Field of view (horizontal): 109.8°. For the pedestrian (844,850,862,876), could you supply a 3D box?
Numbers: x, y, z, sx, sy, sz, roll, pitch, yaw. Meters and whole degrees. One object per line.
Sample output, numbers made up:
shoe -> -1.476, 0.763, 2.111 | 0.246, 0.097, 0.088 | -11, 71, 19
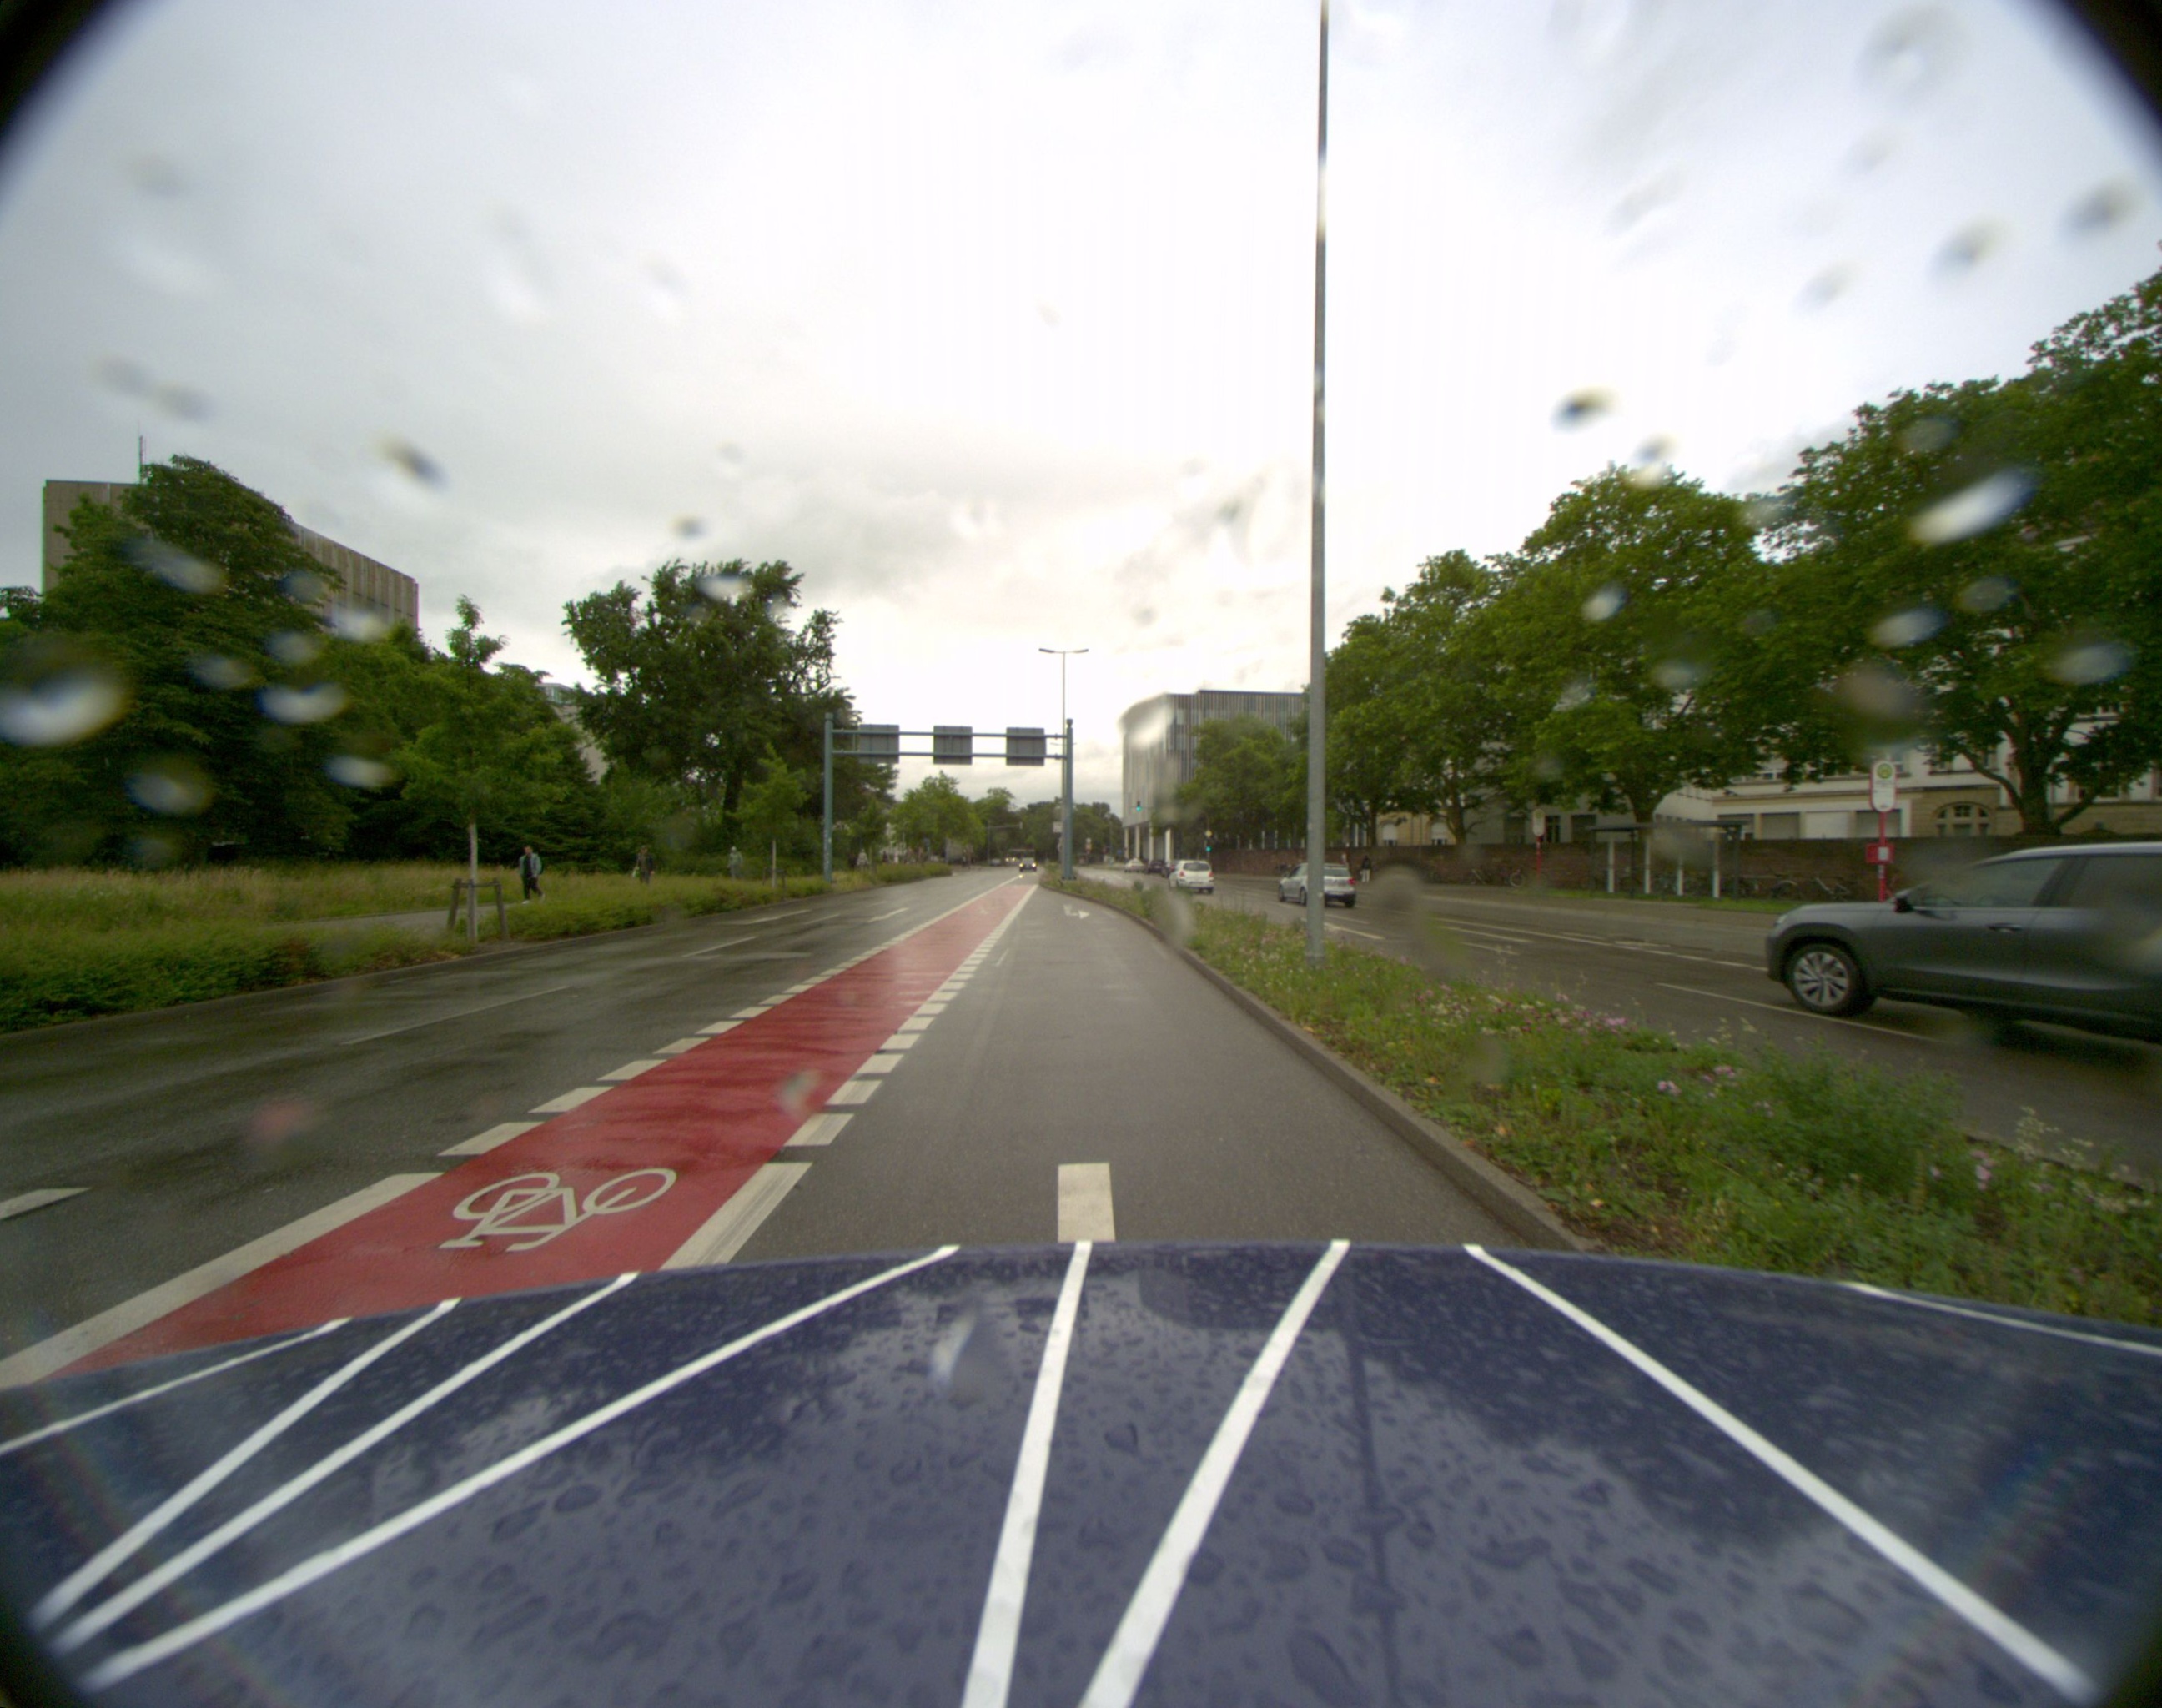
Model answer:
pedestrian -> -15.107, 0.583, 50.431 | 0.935, 1.693, 0.829 | -1, -2, 2

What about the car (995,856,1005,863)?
car -> -15.229, 0.974, 142.700 | 1.661, 1.259, 4.105 | 0, 0, -4

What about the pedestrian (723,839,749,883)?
pedestrian -> -16.004, 0.326, 35.210 | 0.792, 2.002, 0.829 | 0, 0, 4

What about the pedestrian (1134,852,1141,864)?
pedestrian -> 8.262, 0.588, 111.255 | 0.788, 1.814, 0.623 | 0, 1, -26

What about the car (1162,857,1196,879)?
car -> 7.535, 1.042, 59.064 | 1.813, 1.531, 4.702 | 2, 0, -2

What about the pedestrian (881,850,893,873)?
pedestrian -> -16.017, 0.631, 62.761 | 0.731, 1.848, 0.851 | 0, 0, 4

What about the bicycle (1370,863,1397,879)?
bicycle -> 18.971, 1.059, 47.695 | 0.734, 0.977, 1.699 | 0, 0, -13

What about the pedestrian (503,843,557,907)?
pedestrian -> -15.796, 0.599, 21.818 | 0.935, 1.786, 0.829 | 0, 0, 4

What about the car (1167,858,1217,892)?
car -> 5.130, 0.941, 35.533 | 1.683, 1.493, 3.868 | 1, 0, -1

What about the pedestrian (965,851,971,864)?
pedestrian -> -15.647, 0.518, 105.354 | 0.625, 1.813, 0.785 | 0, 0, -17

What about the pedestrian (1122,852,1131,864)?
pedestrian -> 6.665, 0.575, 112.207 | 0.941, 1.813, 0.921 | 0, 0, -33

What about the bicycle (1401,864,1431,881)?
bicycle -> 19.673, 1.074, 44.690 | 0.734, 0.977, 1.699 | 0, 0, -13

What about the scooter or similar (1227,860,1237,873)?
scooter or similar -> 14.181, 1.172, 71.406 | 0.392, 1.191, 1.141 | -7, 1, -9

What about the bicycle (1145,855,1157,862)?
bicycle -> 13.190, 0.822, 142.790 | 2.283, 1.215, 0.599 | 0, 0, 7

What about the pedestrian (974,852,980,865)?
pedestrian -> -14.598, 0.583, 106.156 | 0.625, 1.813, 0.785 | 0, 0, -25

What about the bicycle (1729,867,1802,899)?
bicycle -> 25.377, 1.054, 28.207 | 0.575, 1.129, 1.988 | 0, 0, -18

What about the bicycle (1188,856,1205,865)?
bicycle -> 16.444, 0.925, 108.220 | 2.287, 1.215, 0.598 | 0, 0, -15

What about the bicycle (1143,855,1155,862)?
bicycle -> 13.024, 0.825, 144.906 | 2.283, 1.215, 0.599 | 0, 0, 7

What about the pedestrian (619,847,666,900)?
pedestrian -> -14.746, 0.631, 25.593 | 0.935, 1.737, 1.046 | 0, 0, 4

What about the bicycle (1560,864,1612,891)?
bicycle -> 22.873, 1.050, 34.480 | 0.575, 1.129, 1.987 | 0, 0, -22

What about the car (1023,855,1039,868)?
car -> -5.519, 0.816, 83.124 | 1.661, 1.356, 4.105 | 0, 0, -4

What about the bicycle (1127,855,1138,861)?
bicycle -> 10.913, 0.841, 160.647 | 2.283, 1.215, 0.599 | 0, 0, 7

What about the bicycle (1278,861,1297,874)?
bicycle -> 16.263, 1.066, 59.810 | 0.734, 0.977, 1.699 | 0, 0, -13

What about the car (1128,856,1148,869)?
car -> 6.305, 0.913, 84.599 | 1.600, 1.407, 4.522 | 2, 0, -4

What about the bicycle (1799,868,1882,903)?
bicycle -> 26.316, 1.080, 26.372 | 0.575, 1.129, 1.988 | 0, 0, -18

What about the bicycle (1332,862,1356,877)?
bicycle -> 18.033, 1.063, 52.104 | 0.734, 0.977, 1.699 | 0, 0, -13

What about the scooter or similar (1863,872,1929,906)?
scooter or similar -> 26.823, 1.139, 25.015 | 0.574, 1.040, 1.360 | 0, 0, -18

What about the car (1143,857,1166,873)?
car -> 6.852, 0.980, 71.128 | 1.628, 1.407, 4.065 | 2, 0, -2

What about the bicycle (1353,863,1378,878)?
bicycle -> 18.476, 1.060, 49.375 | 0.734, 0.977, 1.699 | 0, 0, -13

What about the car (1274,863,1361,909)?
car -> 8.237, 1.068, 26.823 | 1.683, 1.396, 4.157 | 1, 0, -1

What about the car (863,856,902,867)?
car -> -23.914, 0.895, 91.585 | 4.389, 1.330, 1.771 | 0, 3, -6

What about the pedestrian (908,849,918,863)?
pedestrian -> -18.644, 0.196, 84.290 | 0.878, 1.597, 0.862 | 0, 0, -25

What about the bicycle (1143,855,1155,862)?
bicycle -> 13.137, 0.895, 145.829 | 2.283, 1.215, 0.599 | 0, 0, 7

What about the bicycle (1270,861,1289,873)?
bicycle -> 16.146, 1.069, 61.830 | 0.734, 0.977, 1.699 | 0, 0, -13

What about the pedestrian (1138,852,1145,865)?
pedestrian -> 8.761, 0.673, 110.582 | 0.788, 1.813, 0.623 | 0, 0, -26

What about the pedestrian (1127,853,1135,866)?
pedestrian -> 6.848, 0.783, 104.314 | 0.788, 1.813, 0.794 | 0, 0, -26

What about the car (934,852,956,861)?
car -> -27.923, 0.567, 155.592 | 4.428, 1.862, 1.636 | 0, 0, -11

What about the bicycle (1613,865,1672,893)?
bicycle -> 23.816, 1.052, 32.258 | 0.575, 1.129, 1.987 | 0, 0, -22

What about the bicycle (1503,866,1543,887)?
bicycle -> 21.769, 1.109, 37.440 | 0.734, 0.977, 1.699 | 0, 0, -13

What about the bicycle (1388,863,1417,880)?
bicycle -> 19.447, 1.074, 46.024 | 0.734, 0.977, 1.699 | 0, 0, -13

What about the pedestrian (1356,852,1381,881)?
pedestrian -> 17.485, 0.751, 46.208 | 0.871, 1.686, 1.399 | 0, 0, -9

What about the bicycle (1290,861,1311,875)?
bicycle -> 16.793, 1.066, 58.158 | 0.734, 0.977, 1.699 | 0, 0, -13

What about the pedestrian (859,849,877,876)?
pedestrian -> -14.049, 0.559, 50.136 | 0.935, 1.710, 0.829 | -1, -2, 2

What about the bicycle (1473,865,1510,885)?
bicycle -> 21.324, 1.074, 39.478 | 0.734, 0.977, 1.699 | 0, 0, -13

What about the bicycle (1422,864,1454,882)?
bicycle -> 19.873, 1.040, 42.343 | 0.734, 0.977, 1.699 | 0, 0, -13

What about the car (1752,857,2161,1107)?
car -> 8.165, 0.888, 5.781 | 1.998, 1.626, 4.602 | 2, 0, 0

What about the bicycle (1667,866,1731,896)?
bicycle -> 24.649, 1.059, 30.361 | 0.575, 1.129, 1.988 | 0, 0, -18

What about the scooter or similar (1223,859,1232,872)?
scooter or similar -> 14.092, 1.142, 73.307 | 0.392, 1.191, 1.141 | -7, 1, -7
